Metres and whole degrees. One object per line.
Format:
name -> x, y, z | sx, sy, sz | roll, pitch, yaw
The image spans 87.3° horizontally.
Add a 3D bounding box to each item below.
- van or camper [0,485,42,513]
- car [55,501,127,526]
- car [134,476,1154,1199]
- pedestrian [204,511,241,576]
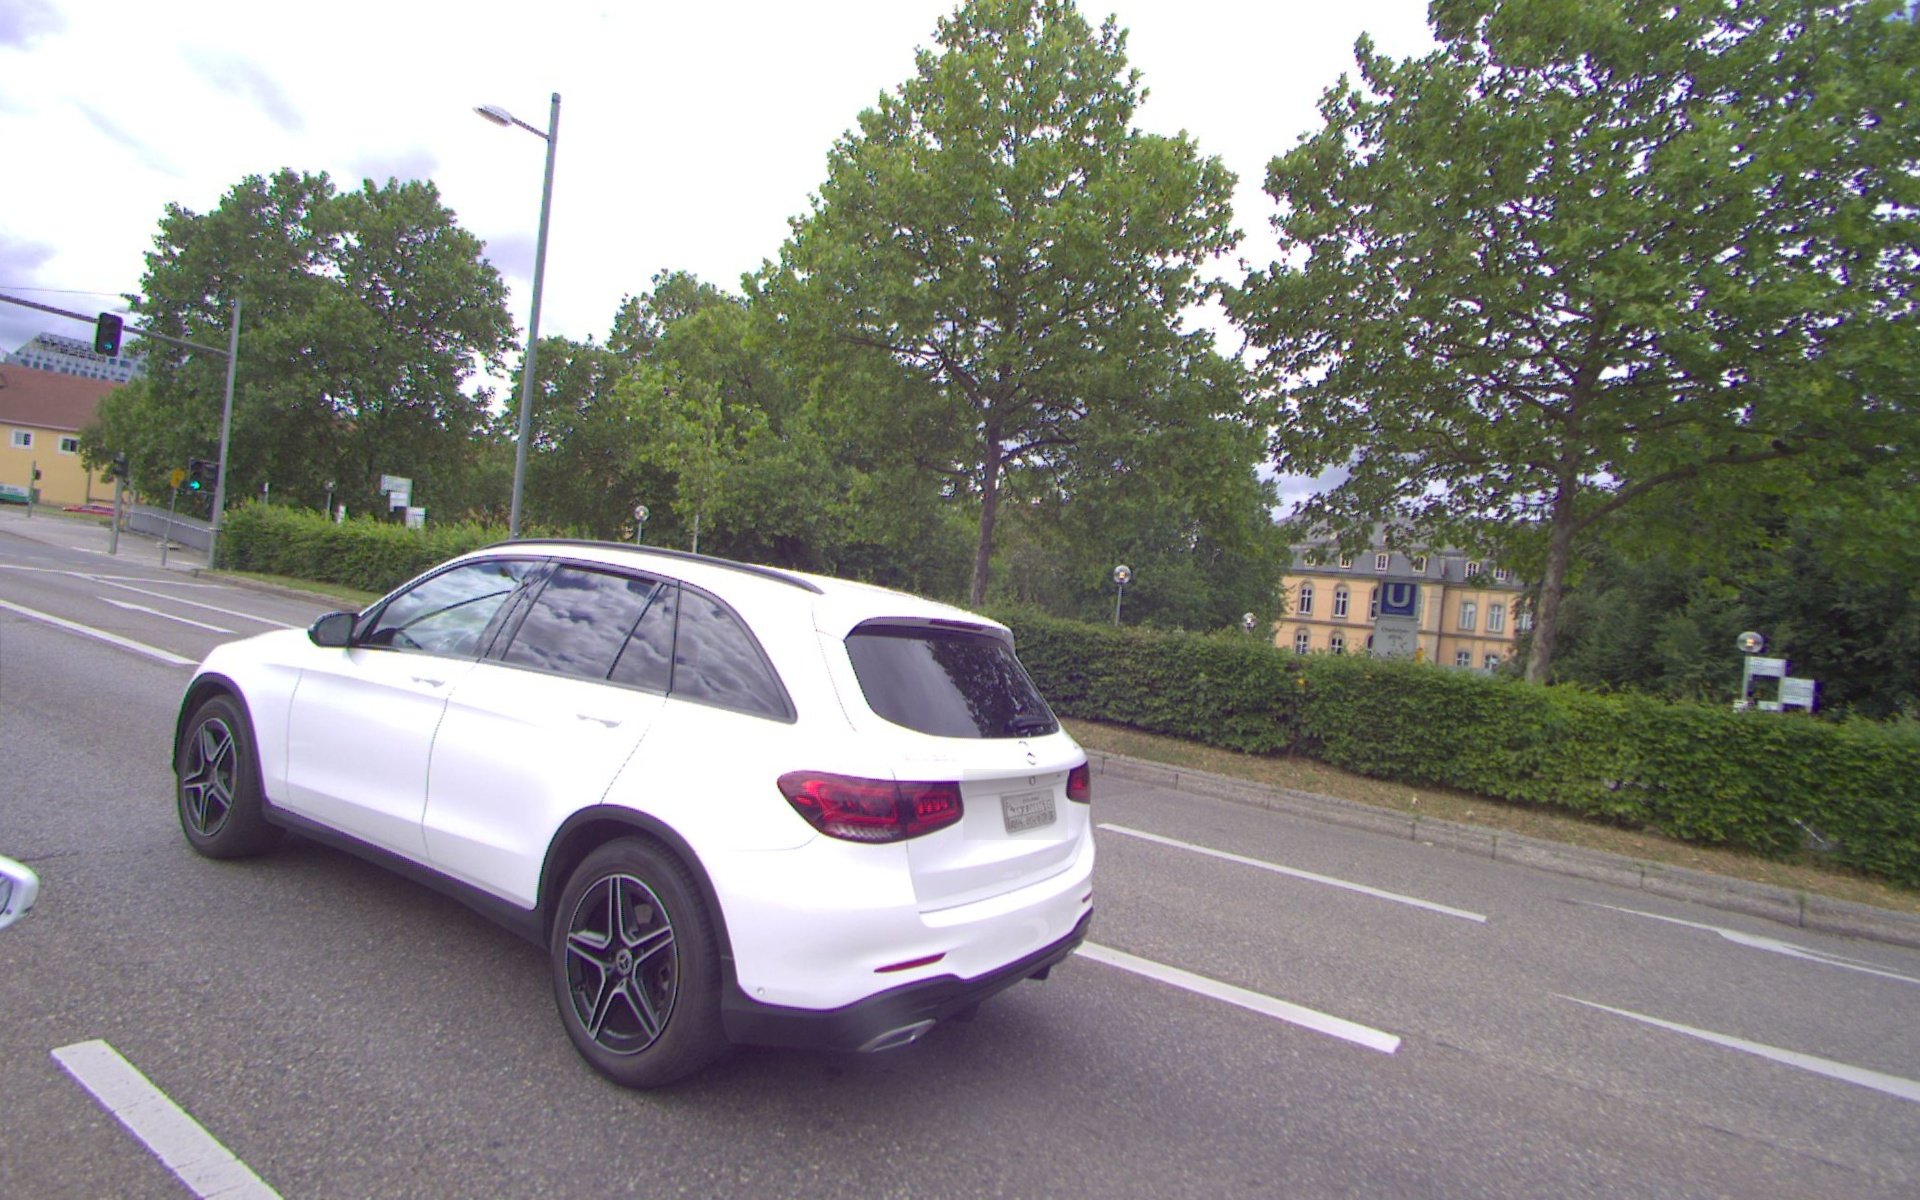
van or camper -> -85.479, -9.237, 88.897 | 5.946, 2.037, 2.009 | 8, -1, -23
car -> -79.214, -7.907, 91.786 | 4.637, 1.437, 1.586 | 8, -1, -27
car -> -1.595, 0.551, 4.462 | 4.306, 1.667, 1.822 | 7, -1, 32
pedestrian -> -21.250, -1.627, 28.990 | 0.610, 1.785, 0.479 | 7, 0, 29
